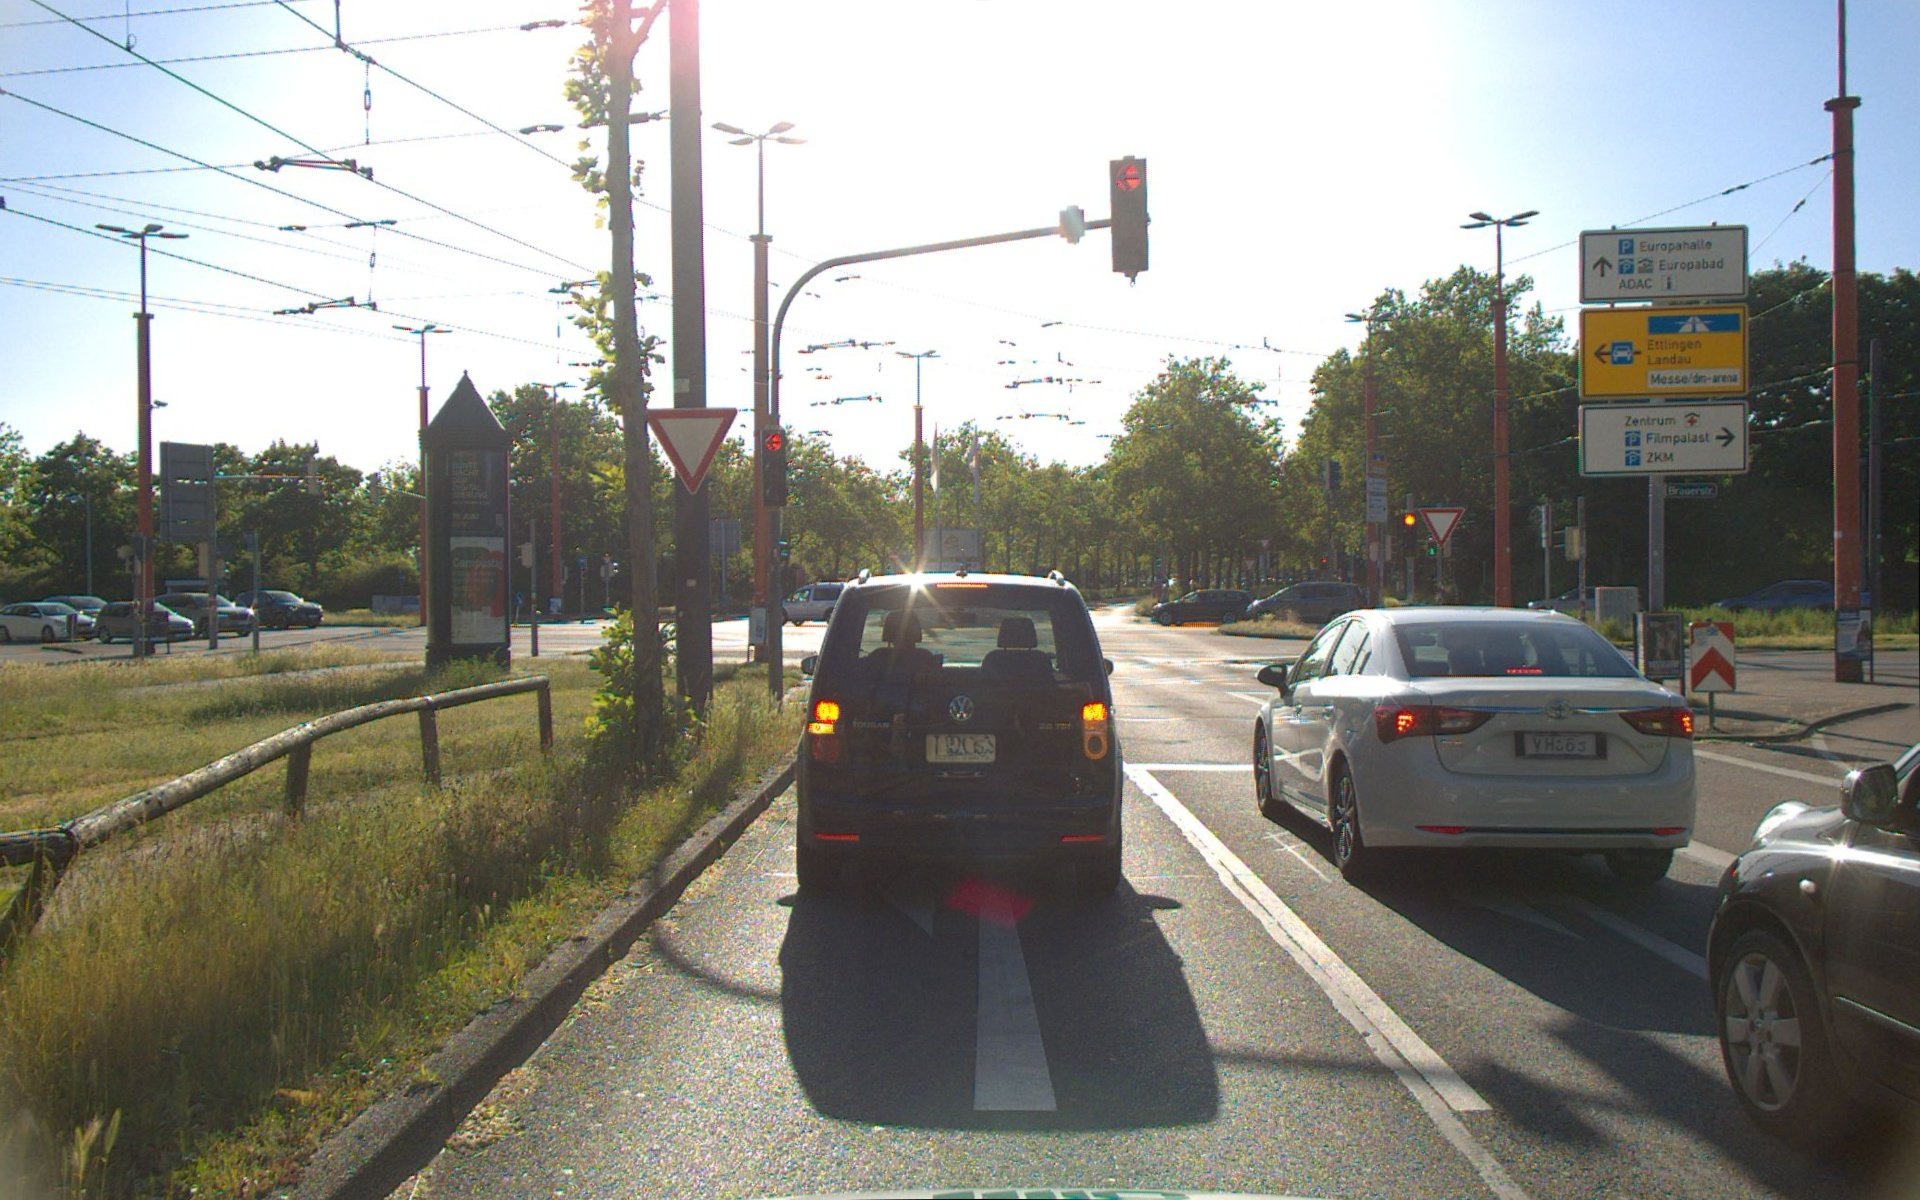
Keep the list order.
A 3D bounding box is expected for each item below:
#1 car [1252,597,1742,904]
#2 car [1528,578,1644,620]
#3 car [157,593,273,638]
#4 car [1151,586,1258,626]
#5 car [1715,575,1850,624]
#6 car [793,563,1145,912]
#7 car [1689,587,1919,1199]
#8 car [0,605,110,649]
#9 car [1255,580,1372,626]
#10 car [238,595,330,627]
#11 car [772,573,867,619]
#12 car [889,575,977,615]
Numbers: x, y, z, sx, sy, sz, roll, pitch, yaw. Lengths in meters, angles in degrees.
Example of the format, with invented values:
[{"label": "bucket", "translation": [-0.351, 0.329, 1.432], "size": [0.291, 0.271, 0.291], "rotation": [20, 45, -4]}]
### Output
[{"label": "car", "translation": [2.979, 0.729, 10.134], "size": [1.685, 1.463, 4.198], "rotation": [1, 0, 1]}, {"label": "car", "translation": [23.473, -0.042, 62.033], "size": [3.887, 1.466, 1.685], "rotation": [1, 0, 27]}, {"label": "car", "translation": [-28.845, 0.574, 64.051], "size": [3.907, 1.673, 1.999], "rotation": [0, 0, 24]}, {"label": "car", "translation": [10.194, 0.247, 68.856], "size": [4.040, 1.537, 1.821], "rotation": [1, 0, 26]}, {"label": "car", "translation": [27.924, -0.027, 56.247], "size": [4.039, 1.626, 1.827], "rotation": [0, 0, 27]}, {"label": "car", "translation": [0.008, 0.642, 9.800], "size": [1.666, 1.650, 3.896], "rotation": [0, 0, -1]}, {"label": "car", "translation": [3.188, 0.746, 3.566], "size": [1.620, 1.526, 3.614], "rotation": [1, 0, 0]}, {"label": "car", "translation": [-34.703, 1.007, 63.153], "size": [4.091, 1.640, 1.867], "rotation": [0, 0, 25]}, {"label": "car", "translation": [13.596, 0.120, 63.625], "size": [4.097, 1.673, 1.758], "rotation": [1, 0, 26]}, {"label": "car", "translation": [-29.268, 0.476, 71.585], "size": [3.913, 1.353, 1.694], "rotation": [0, 0, 31]}, {"label": "car", "translation": [-6.147, -0.161, 72.517], "size": [3.754, 1.923, 1.763], "rotation": [1, 0, 22]}, {"label": "car", "translation": [-1.209, -0.219, 74.443], "size": [3.570, 1.684, 1.679], "rotation": [1, 0, 25]}]
